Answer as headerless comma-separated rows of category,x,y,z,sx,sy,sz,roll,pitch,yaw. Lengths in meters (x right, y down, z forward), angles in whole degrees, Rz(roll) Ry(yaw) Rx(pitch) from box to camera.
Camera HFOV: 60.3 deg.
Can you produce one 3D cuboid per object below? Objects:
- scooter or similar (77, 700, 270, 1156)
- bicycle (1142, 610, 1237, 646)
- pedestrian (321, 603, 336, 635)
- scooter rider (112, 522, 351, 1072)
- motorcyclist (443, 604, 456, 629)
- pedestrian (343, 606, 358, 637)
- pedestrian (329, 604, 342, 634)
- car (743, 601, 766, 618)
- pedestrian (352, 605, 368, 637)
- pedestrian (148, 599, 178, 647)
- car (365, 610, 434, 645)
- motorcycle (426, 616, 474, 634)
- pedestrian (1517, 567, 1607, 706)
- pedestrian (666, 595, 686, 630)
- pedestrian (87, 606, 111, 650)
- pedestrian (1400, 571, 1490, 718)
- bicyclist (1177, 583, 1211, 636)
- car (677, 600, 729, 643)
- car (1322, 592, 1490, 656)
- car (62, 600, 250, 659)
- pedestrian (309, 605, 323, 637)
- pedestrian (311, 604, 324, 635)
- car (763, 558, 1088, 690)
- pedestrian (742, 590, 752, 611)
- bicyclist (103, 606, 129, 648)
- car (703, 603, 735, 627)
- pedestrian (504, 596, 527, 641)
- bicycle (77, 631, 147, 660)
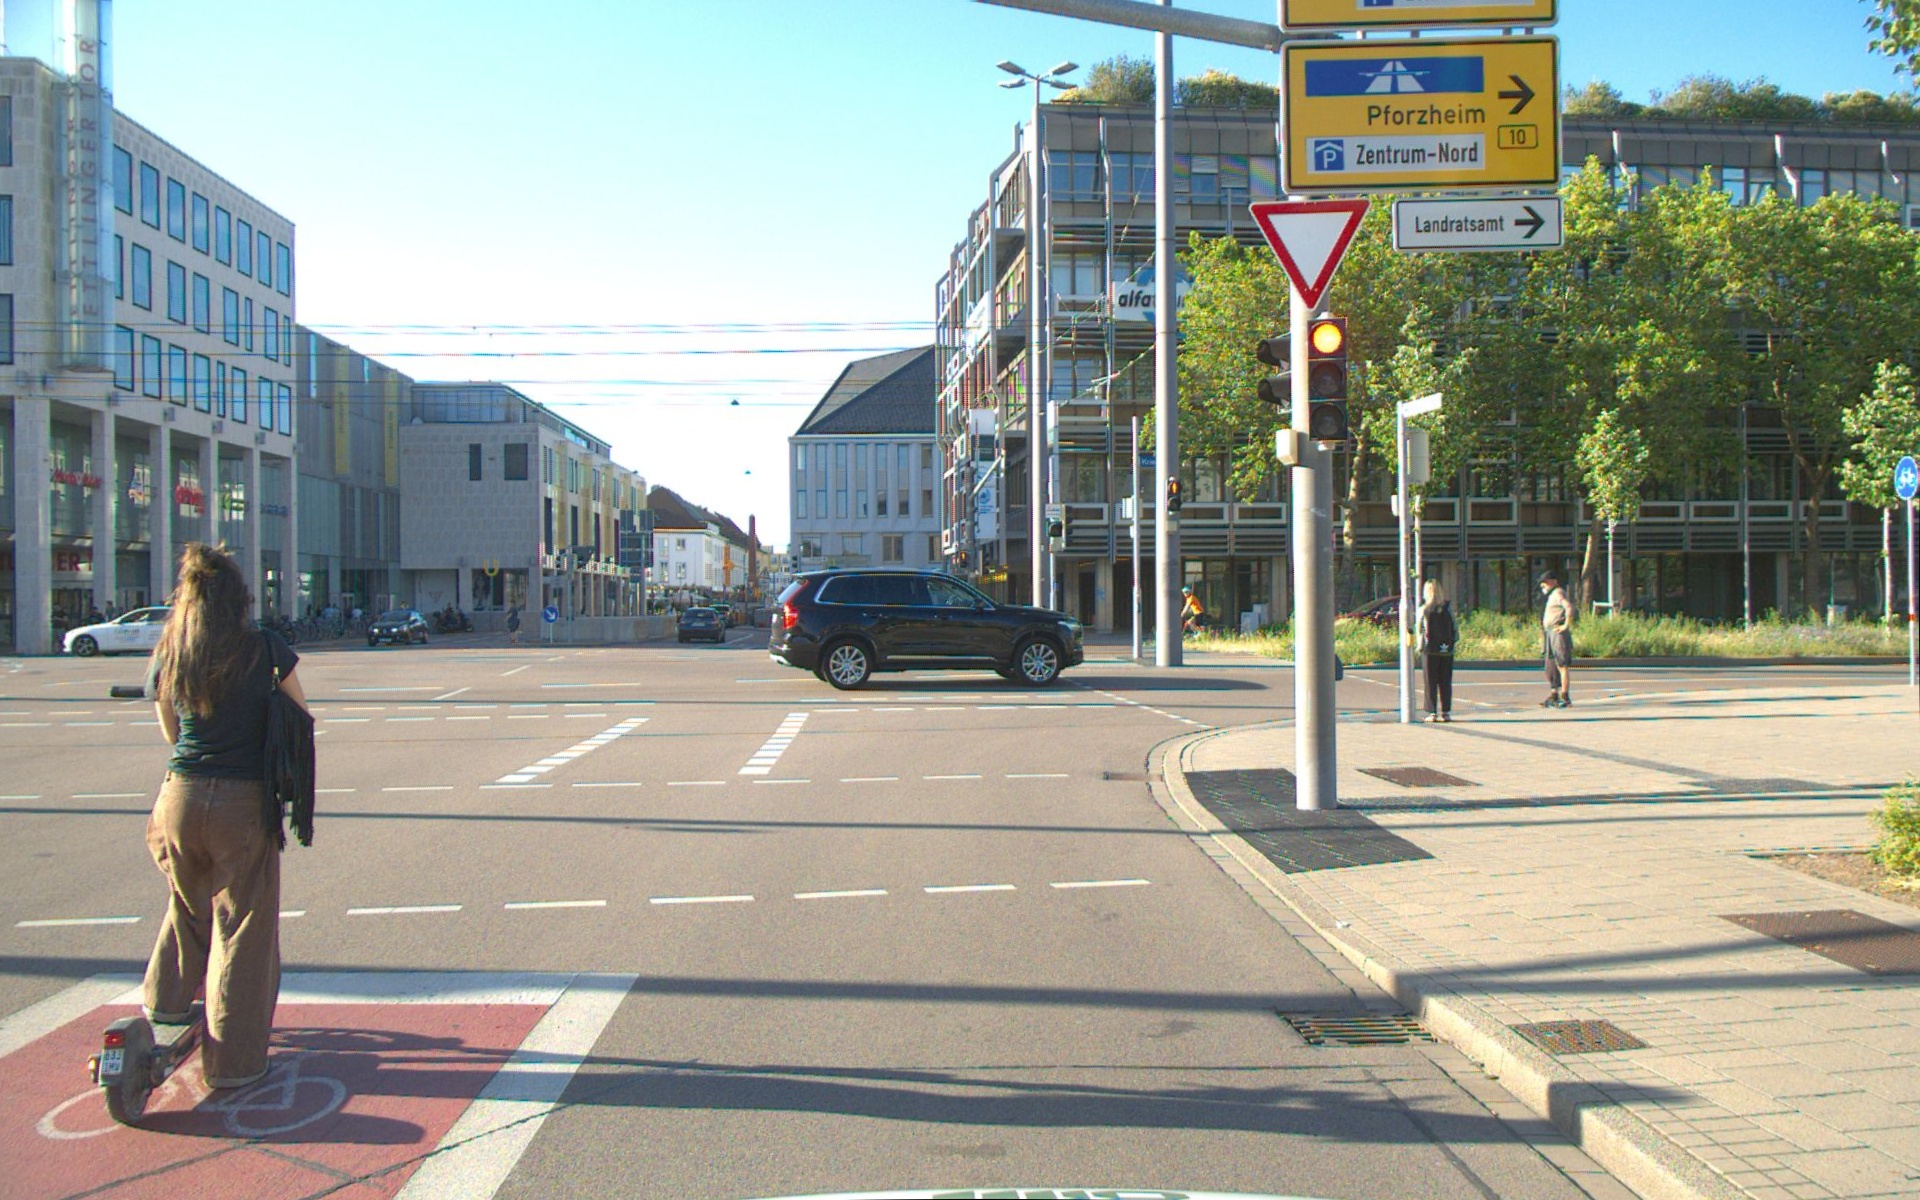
scooter or similar,-2.226,0.878,4.735,0.301,1.127,0.836,-1,0,-12
bicycle,6.544,0.794,47.198,2.517,0.992,1.047,-1,0,-4
pedestrian,-34.740,1.035,90.965,0.462,1.759,0.626,1,-1,33
scooter rider,-2.161,0.554,4.950,0.542,1.556,0.448,-1,0,-9
motorcyclist,-30.121,0.982,97.562,0.616,1.430,0.661,1,-1,-9
pedestrian,-34.603,1.200,93.868,0.461,1.759,0.627,1,-1,28
pedestrian,-35.427,1.088,93.832,0.462,1.712,0.518,0,-1,38
car,-18.124,0.841,145.767,1.625,1.484,3.541,-1,0,-1
pedestrian,-33.353,1.158,91.927,0.462,1.759,0.692,0,-1,37
pedestrian,-31.871,0.932,66.130,0.923,1.897,0.539,-1,0,16
car,-23.543,1.137,69.628,1.642,1.381,4.019,-1,0,-2
motorcycle,-30.015,1.482,97.395,2.555,1.010,1.113,1,0,-10
pedestrian,7.732,0.460,21.266,0.854,1.736,0.768,-1,0,-3
pedestrian,-14.797,0.625,86.225,0.881,1.814,0.808,0,0,-1
pedestrian,-32.845,1.067,63.115,0.580,1.674,0.629,-1,0,-1
pedestrian,5.560,0.493,19.001,0.750,1.642,0.874,-1,0,-2
bicyclist,6.677,0.276,47.217,0.806,1.500,0.652,-1,0,-5
car,-10.563,0.866,68.162,1.784,1.713,3.996,-1,0,-5
car,12.544,0.644,46.630,4.212,1.713,1.820,-1,0,-11
car,-24.291,0.875,50.100,4.747,1.713,1.824,-1,0,-3
pedestrian,-36.119,1.169,92.769,0.462,1.759,0.518,0,-1,38
pedestrian,-36.414,1.113,93.765,0.462,1.759,0.518,0,-1,38
car,-0.577,0.337,25.398,4.732,1.896,1.880,-1,0,-12
pedestrian,-21.138,0.044,164.359,0.892,1.999,0.822,1,-1,-1
bicyclist,-29.910,0.949,58.630,0.615,1.473,0.587,-1,0,33
car,-15.691,0.959,107.820,1.625,1.484,3.541,-1,0,-1
pedestrian,-16.915,0.704,62.910,0.685,1.718,0.619,-1,0,0
bicycle,-29.994,1.603,58.513,0.624,0.919,2.213,-1,0,31
